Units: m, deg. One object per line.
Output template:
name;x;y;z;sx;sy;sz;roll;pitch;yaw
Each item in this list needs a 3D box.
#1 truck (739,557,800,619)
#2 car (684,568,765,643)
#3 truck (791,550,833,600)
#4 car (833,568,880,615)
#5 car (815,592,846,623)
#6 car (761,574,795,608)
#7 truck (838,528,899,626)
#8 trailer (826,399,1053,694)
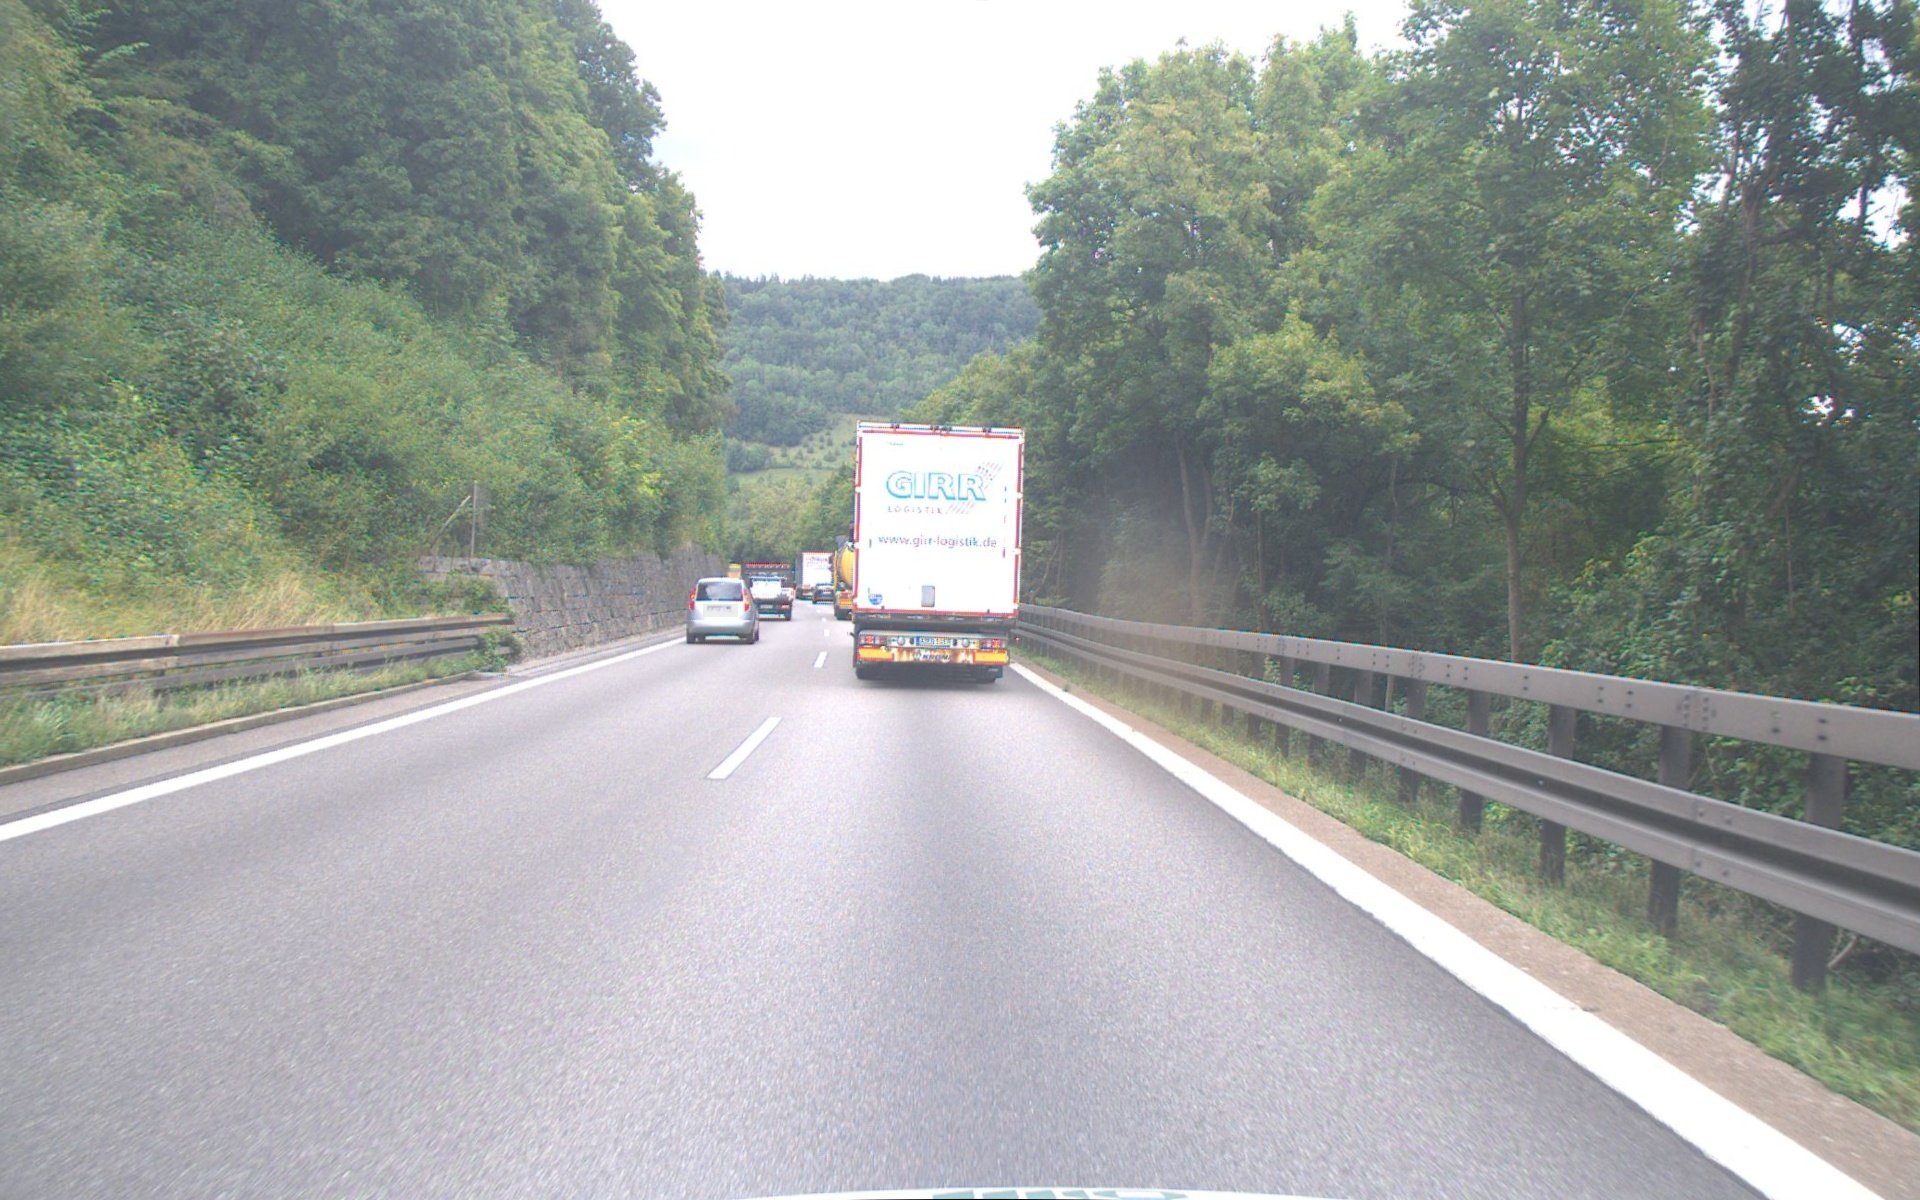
truck;-7.867;-0.505;68.753;2.304;2.313;6.841;3;0;-6
car;-5.946;0.132;42.111;1.601;1.757;4.342;2;0;-3
truck;-12.575;-2.067;140.108;3.011;3.944;8.445;3;0;-7
car;-4.884;-0.400;77.551;1.955;2.049;4.328;3;0;-6
car;-9.069;0.501;115.701;1.955;2.049;3.995;3;0;-6
car;-11.272;-0.564;102.469;1.980;1.947;5.556;3;0;-6
truck;-3.967;-0.940;70.500;2.190;3.870;6.816;3;0;-5
trailer;-0.555;-0.830;29.076;3.071;4.112;9.433;4;0;-3
